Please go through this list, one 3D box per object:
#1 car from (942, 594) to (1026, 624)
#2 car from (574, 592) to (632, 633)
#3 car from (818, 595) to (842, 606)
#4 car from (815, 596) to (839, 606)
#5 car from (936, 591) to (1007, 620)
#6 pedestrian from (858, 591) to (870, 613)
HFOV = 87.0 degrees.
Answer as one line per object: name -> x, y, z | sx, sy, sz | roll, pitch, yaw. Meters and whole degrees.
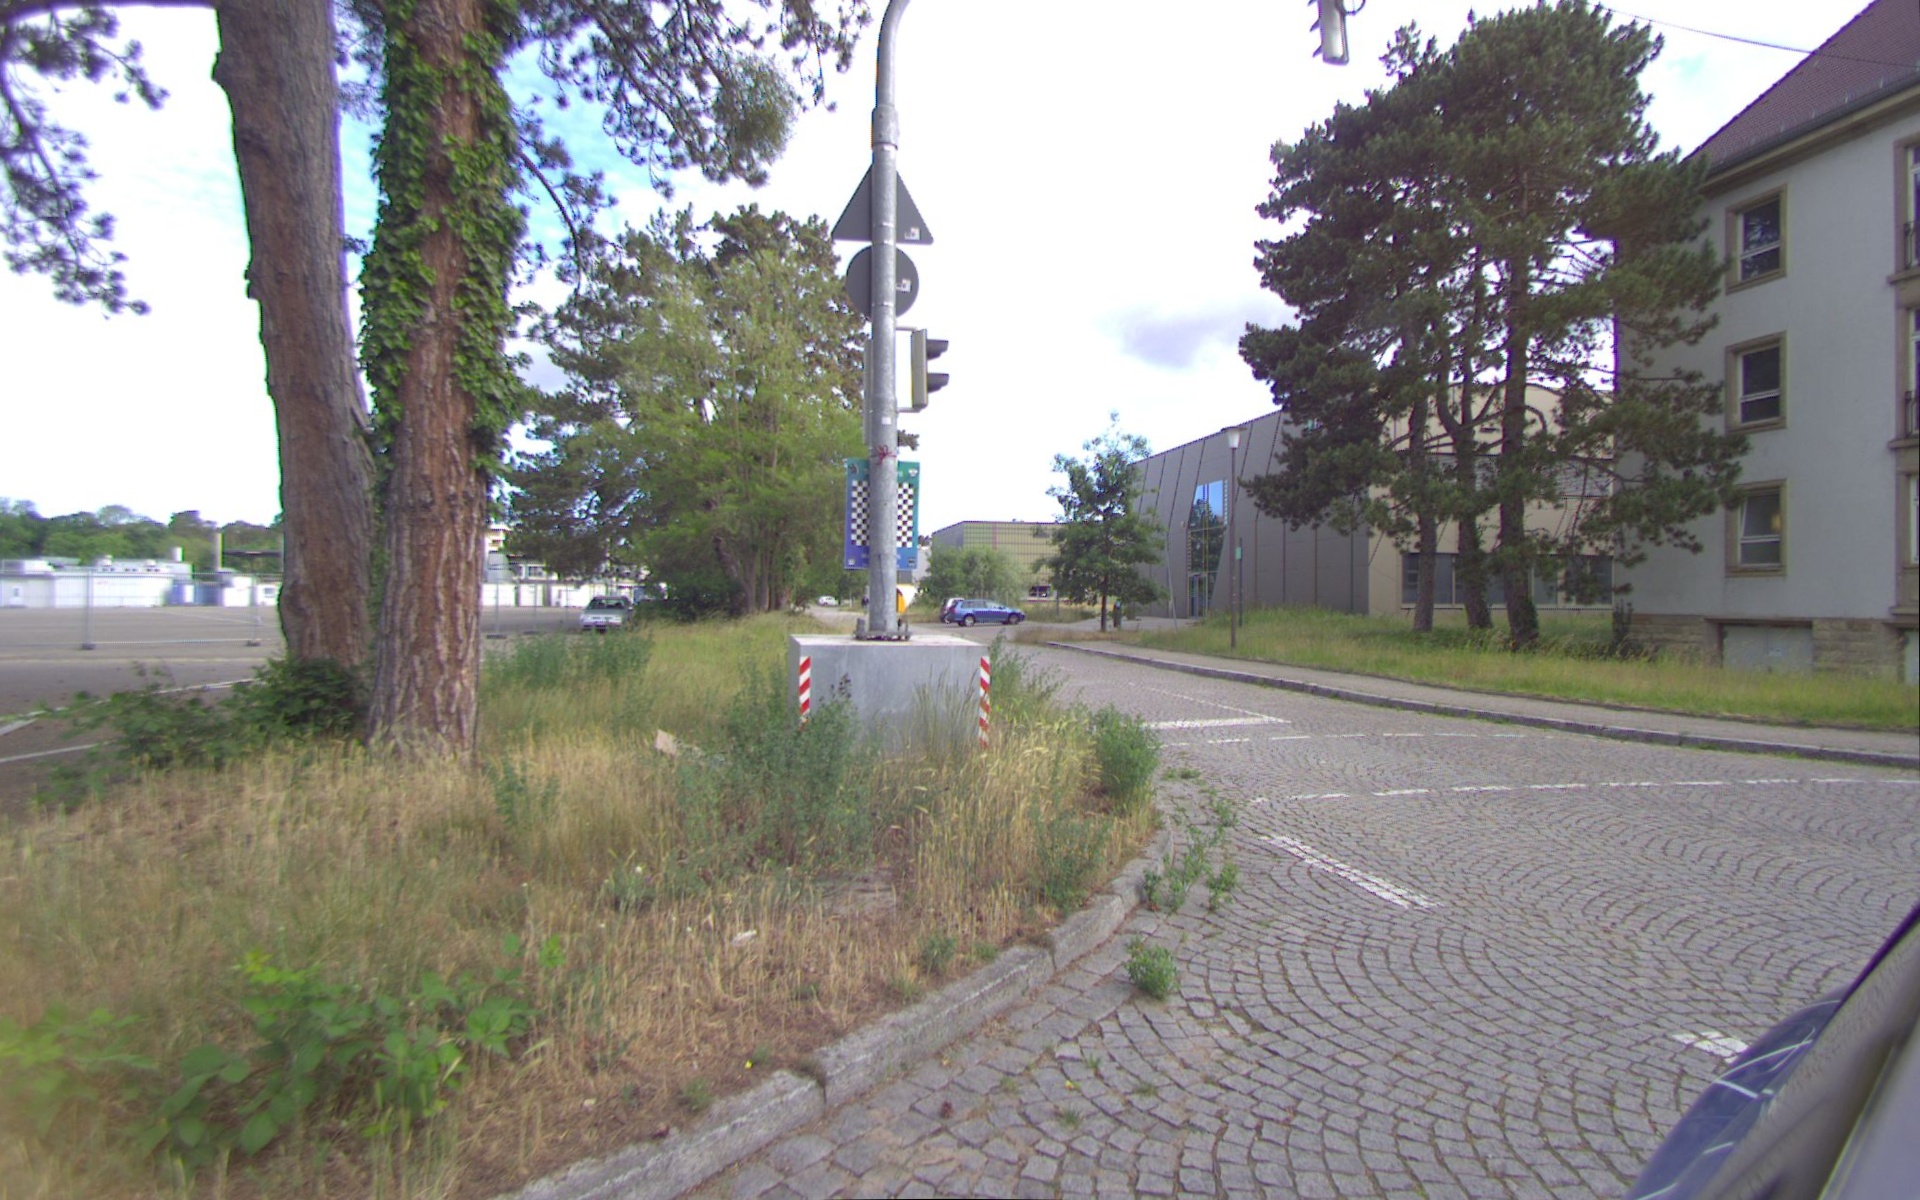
car -> 1.316, 0.471, 56.799 | 4.326, 1.481, 1.842 | -2, 1, -13
car -> -13.689, 0.431, 38.959 | 1.825, 1.493, 4.160 | 0, 0, -15
car -> -21.742, 0.053, 169.334 | 3.998, 1.862, 1.788 | 0, 0, -8
car -> -22.511, 0.185, 171.501 | 3.998, 1.594, 1.788 | 0, 0, -9
car -> 0.703, 0.312, 64.266 | 4.108, 1.606, 1.842 | -2, 1, -13
pedestrian -> -7.853, 0.163, 82.588 | 0.857, 1.745, 1.009 | 0, 0, -11
